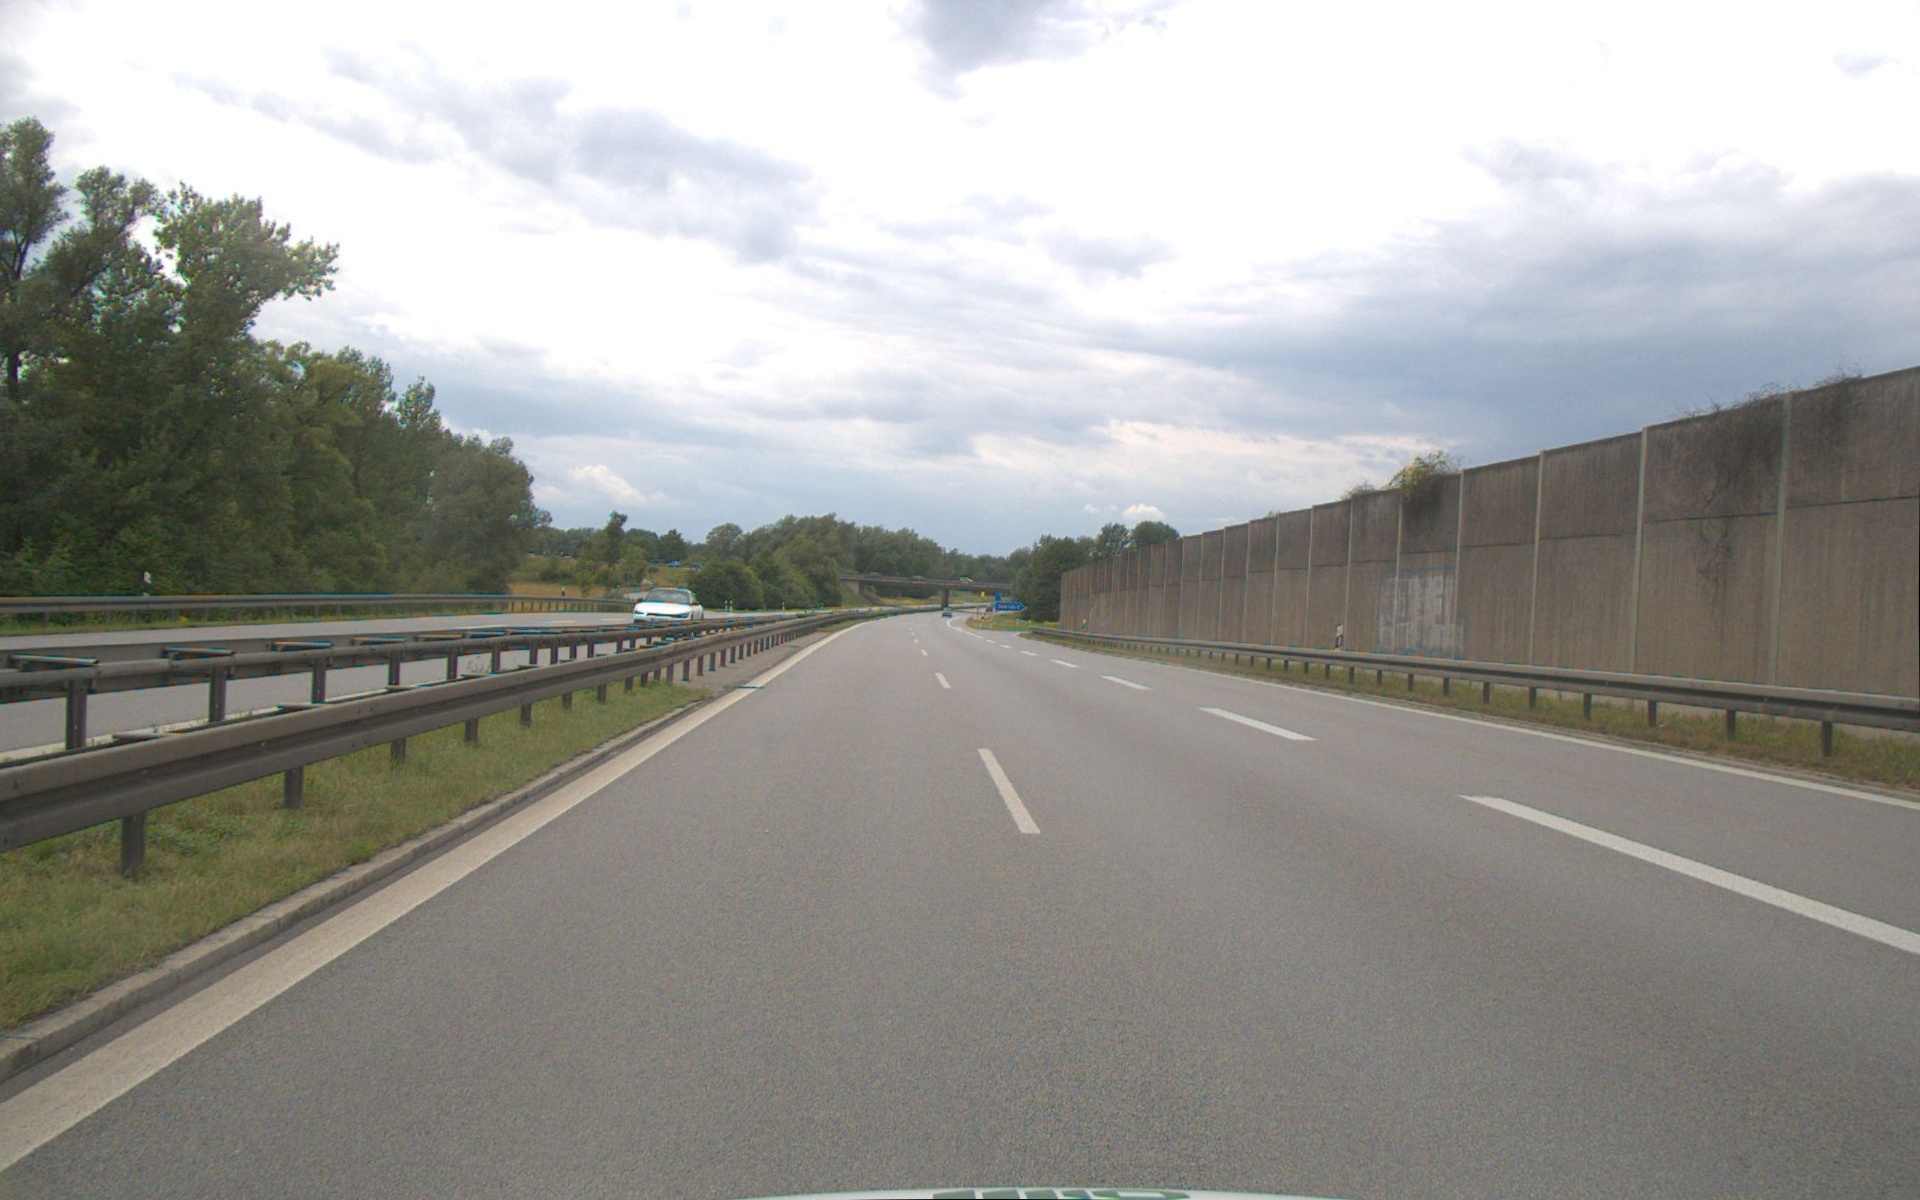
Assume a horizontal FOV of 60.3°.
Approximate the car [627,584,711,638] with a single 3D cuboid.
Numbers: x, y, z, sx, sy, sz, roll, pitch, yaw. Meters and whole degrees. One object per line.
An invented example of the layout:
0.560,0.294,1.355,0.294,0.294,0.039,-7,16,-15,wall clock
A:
-9.680,0.338,55.358,1.953,1.643,5.027,2,0,-1,car
